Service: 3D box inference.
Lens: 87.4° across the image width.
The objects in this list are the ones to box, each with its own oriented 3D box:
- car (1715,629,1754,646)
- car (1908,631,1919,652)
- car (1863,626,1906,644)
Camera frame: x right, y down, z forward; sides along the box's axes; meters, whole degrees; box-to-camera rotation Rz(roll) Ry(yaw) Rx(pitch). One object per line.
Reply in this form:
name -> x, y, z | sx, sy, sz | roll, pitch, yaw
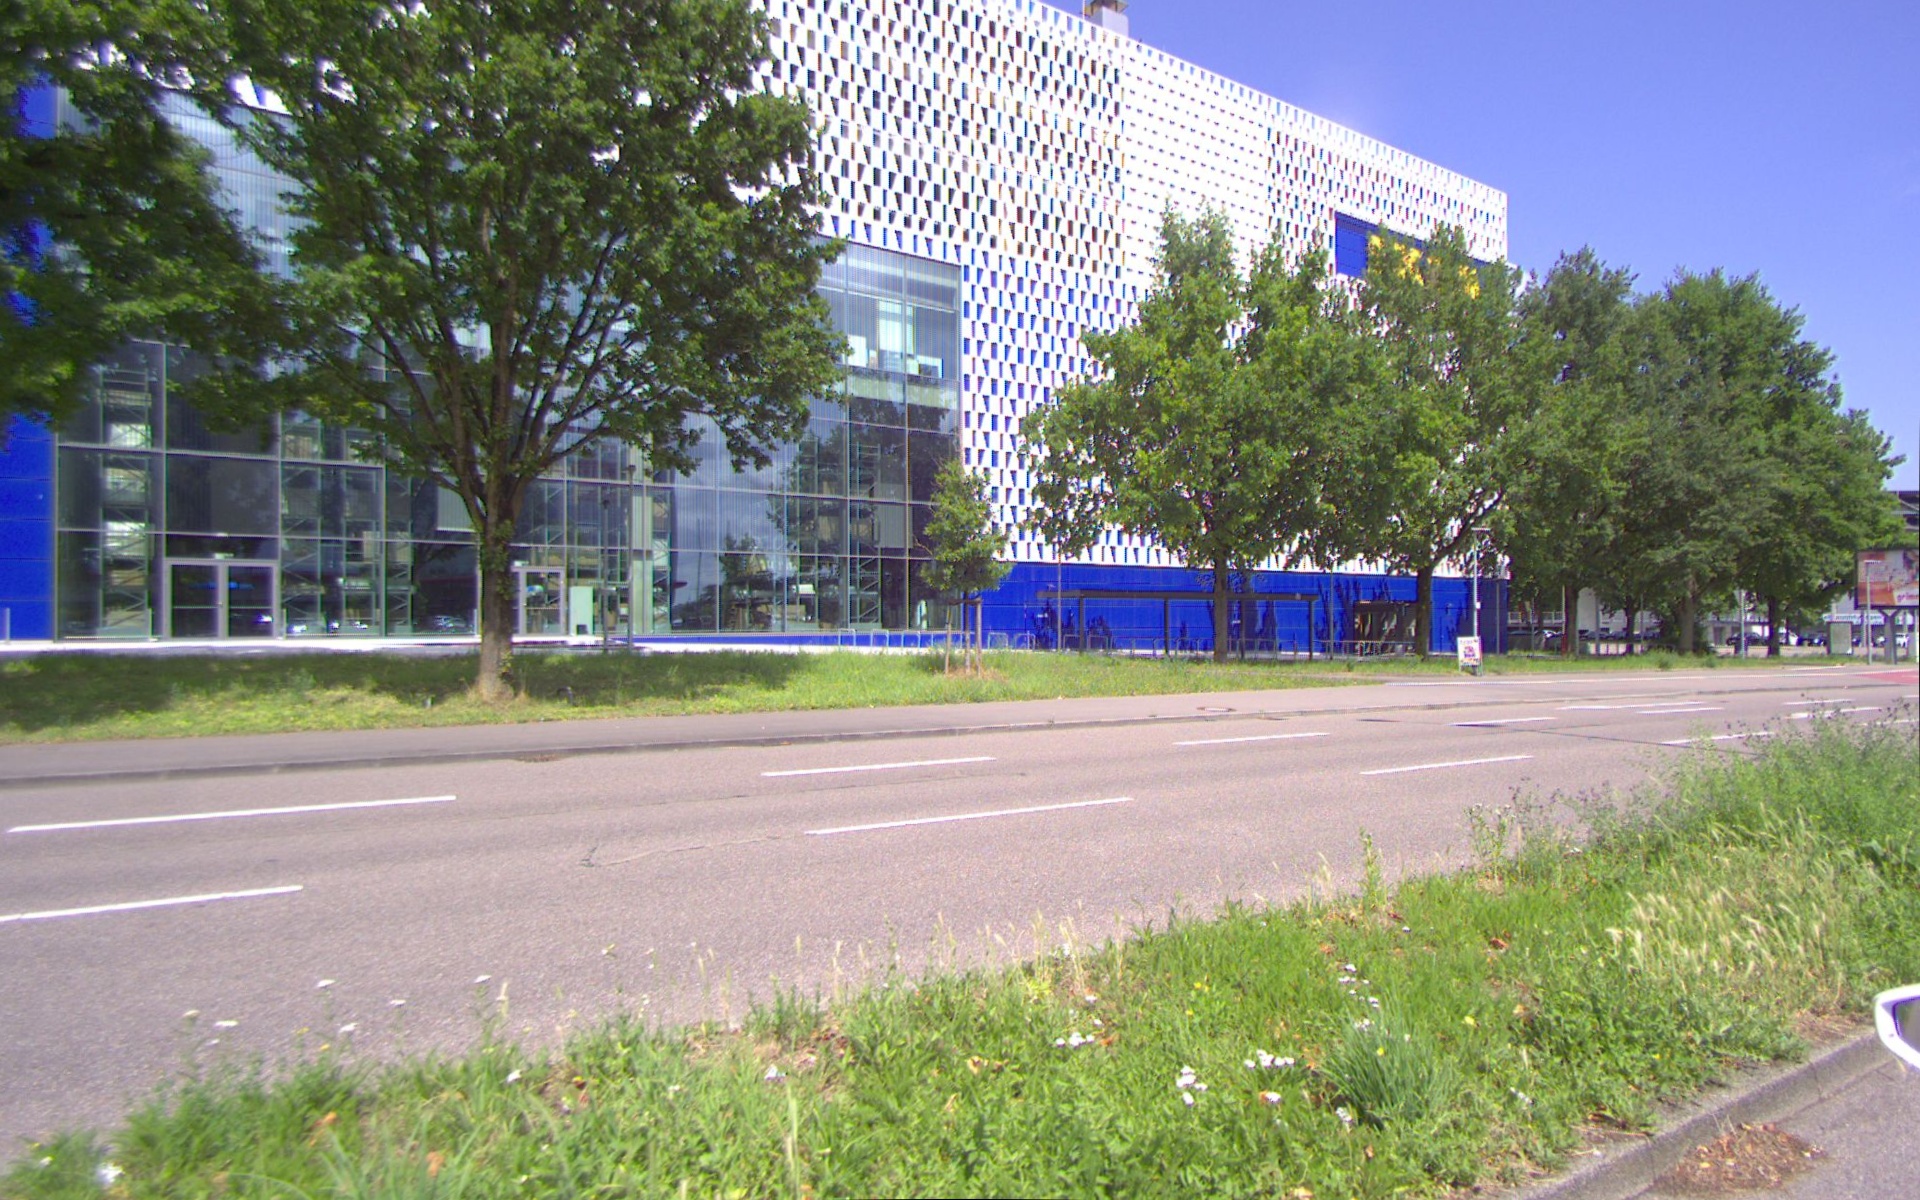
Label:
car -> 73.279, 3.551, 95.007 | 3.662, 1.508, 1.826 | 1, 0, -33
car -> 81.393, 3.458, 84.381 | 3.577, 1.682, 1.747 | 1, 0, -33
car -> 80.007, 3.033, 86.906 | 3.660, 1.506, 1.869 | 1, 0, -32
